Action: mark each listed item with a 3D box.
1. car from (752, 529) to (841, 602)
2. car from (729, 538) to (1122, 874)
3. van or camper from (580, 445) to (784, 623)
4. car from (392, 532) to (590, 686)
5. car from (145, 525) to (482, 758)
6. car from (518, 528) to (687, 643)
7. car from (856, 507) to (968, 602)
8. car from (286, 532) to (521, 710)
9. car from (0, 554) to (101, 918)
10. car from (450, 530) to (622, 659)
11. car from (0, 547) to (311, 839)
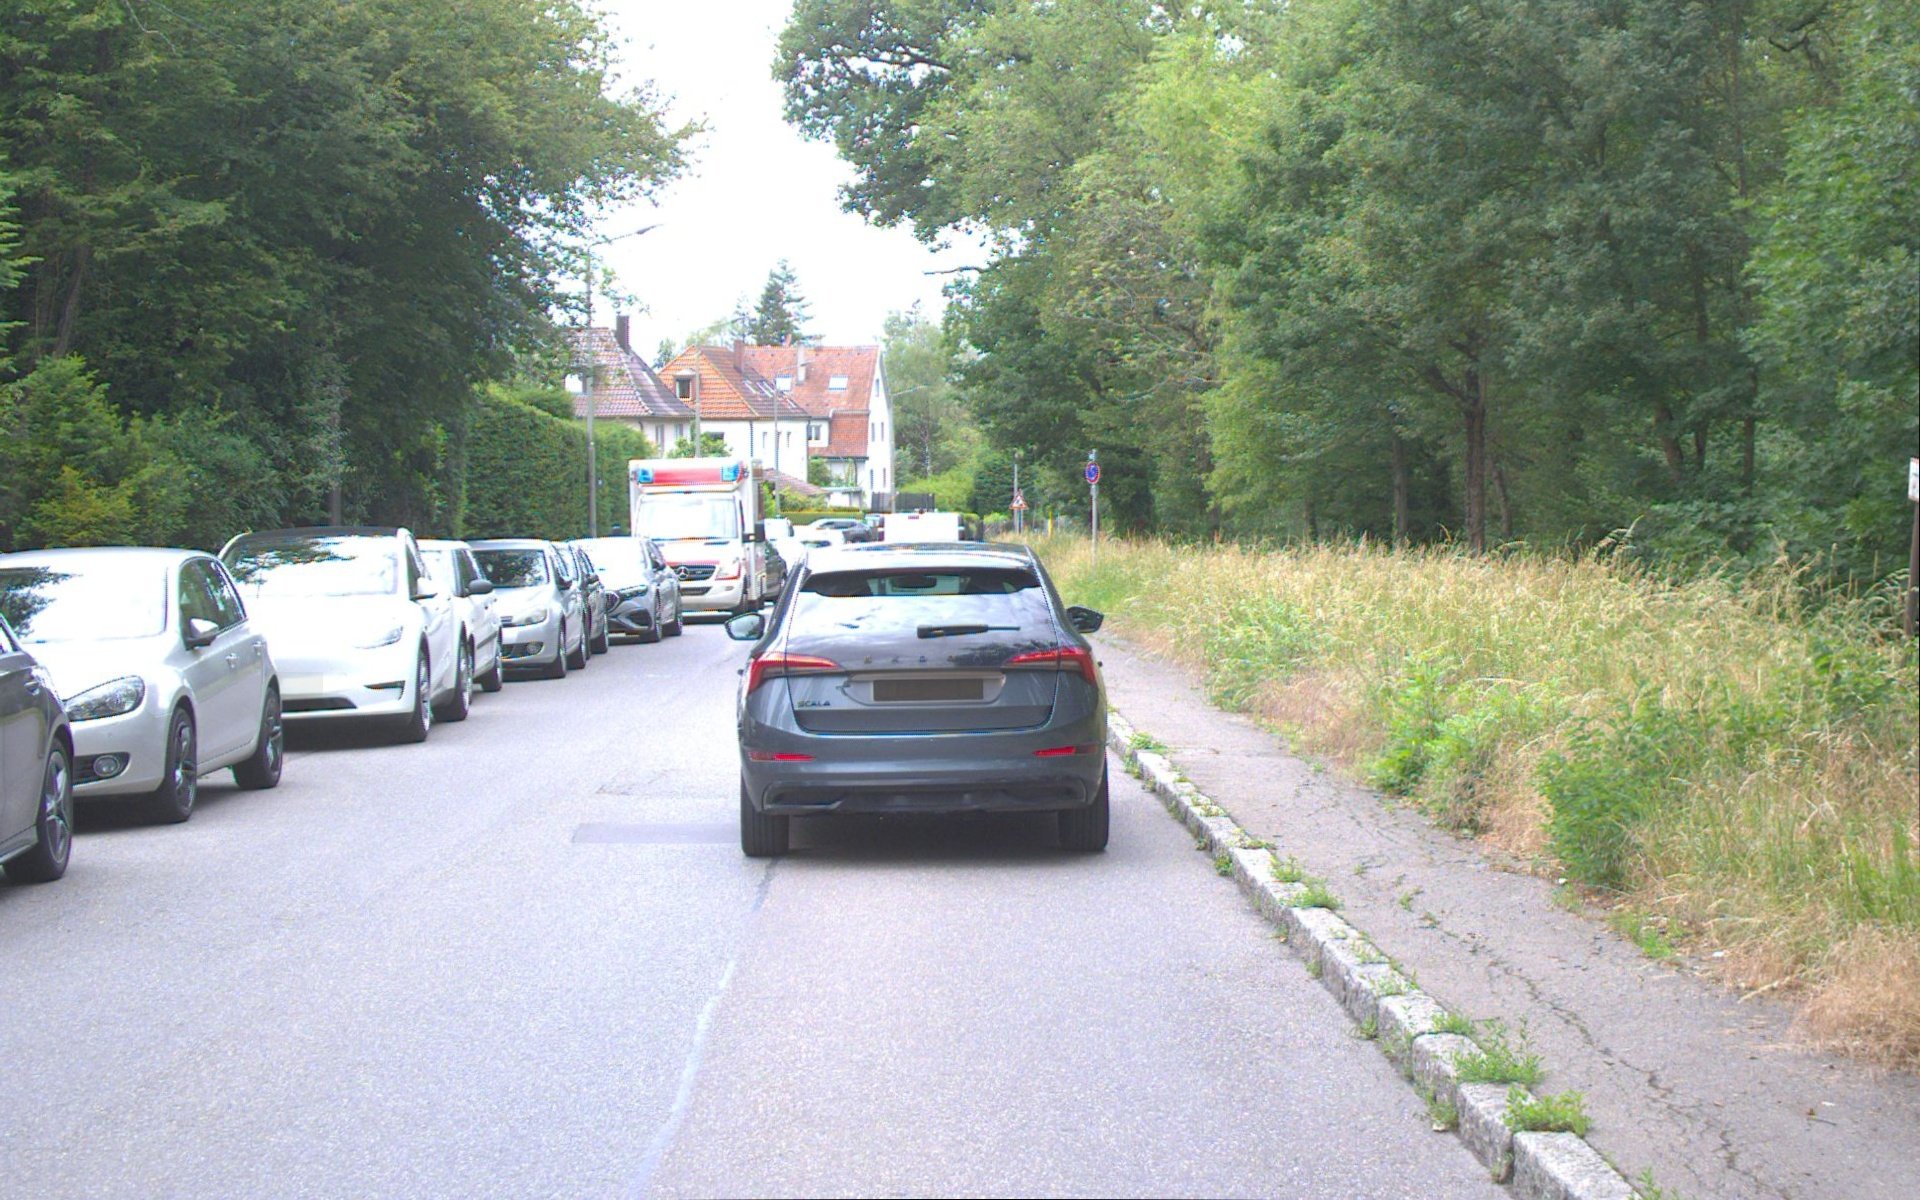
[{"bbox_3d":[-3.686,-0.806,78.301,1.763,1.441,4.474,-1,3,0],"label":"car"},{"bbox_3d":[-0.286,0.431,17.343,1.727,1.434,4.324,0,2,-4],"label":"car"},{"bbox_3d":[-4.752,-1.172,59.979,2.456,2.885,7.167,-1,1,4],"label":"van or camper"},{"bbox_3d":[-4.995,0.054,37.021,1.720,1.499,4.008,-2,1,-3],"label":"car"},{"bbox_3d":[-4.879,0.241,26.552,1.916,1.556,4.605,-2,1,-3],"label":"car"},{"bbox_3d":[-5.113,-0.248,49.746,1.798,1.499,4.863,-2,1,1],"label":"car"},{"bbox_3d":[-1.052,-0.988,72.380,2.071,1.915,4.923,0,1,-4],"label":"car"},{"bbox_3d":[-5.194,0.146,32.486,1.720,1.499,3.817,-2,1,-3],"label":"car"},{"bbox_3d":[-4.701,0.569,13.627,1.734,1.434,4.263,-1,1,-4],"label":"car"},{"bbox_3d":[-5.342,-0.109,43.753,1.720,1.499,4.061,-2,1,-1],"label":"car"},{"bbox_3d":[-4.988,0.456,19.532,1.834,1.434,4.117,-2,1,-1],"label":"car"}]
